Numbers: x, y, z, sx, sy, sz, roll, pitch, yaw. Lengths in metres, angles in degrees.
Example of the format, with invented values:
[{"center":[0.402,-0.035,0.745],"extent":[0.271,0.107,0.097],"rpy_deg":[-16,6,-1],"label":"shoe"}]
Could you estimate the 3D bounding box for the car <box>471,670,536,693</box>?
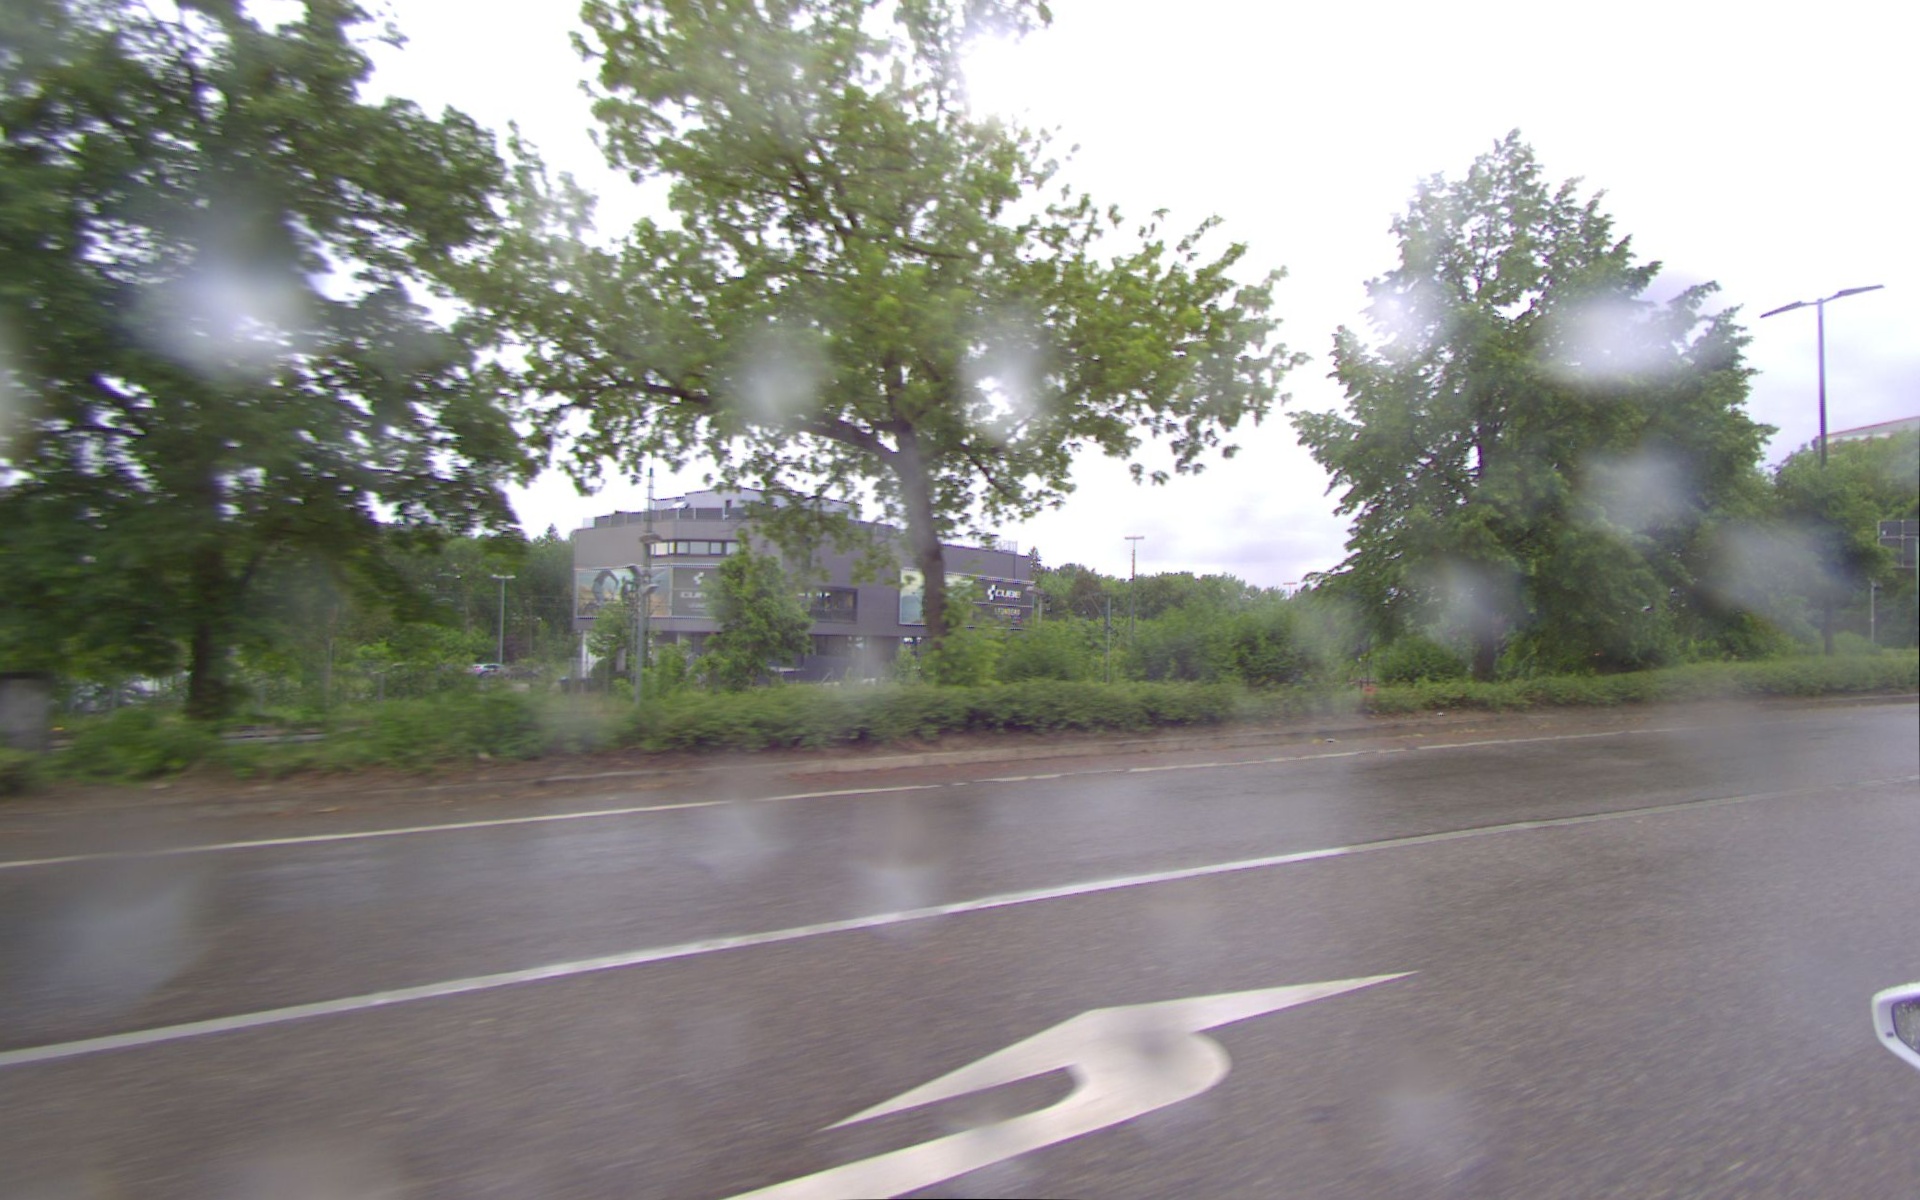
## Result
[{"center":[-33.264,5.948,73.255],"extent":[3.974,1.428,1.776],"rpy_deg":[1,-1,-45],"label":"car"}]
